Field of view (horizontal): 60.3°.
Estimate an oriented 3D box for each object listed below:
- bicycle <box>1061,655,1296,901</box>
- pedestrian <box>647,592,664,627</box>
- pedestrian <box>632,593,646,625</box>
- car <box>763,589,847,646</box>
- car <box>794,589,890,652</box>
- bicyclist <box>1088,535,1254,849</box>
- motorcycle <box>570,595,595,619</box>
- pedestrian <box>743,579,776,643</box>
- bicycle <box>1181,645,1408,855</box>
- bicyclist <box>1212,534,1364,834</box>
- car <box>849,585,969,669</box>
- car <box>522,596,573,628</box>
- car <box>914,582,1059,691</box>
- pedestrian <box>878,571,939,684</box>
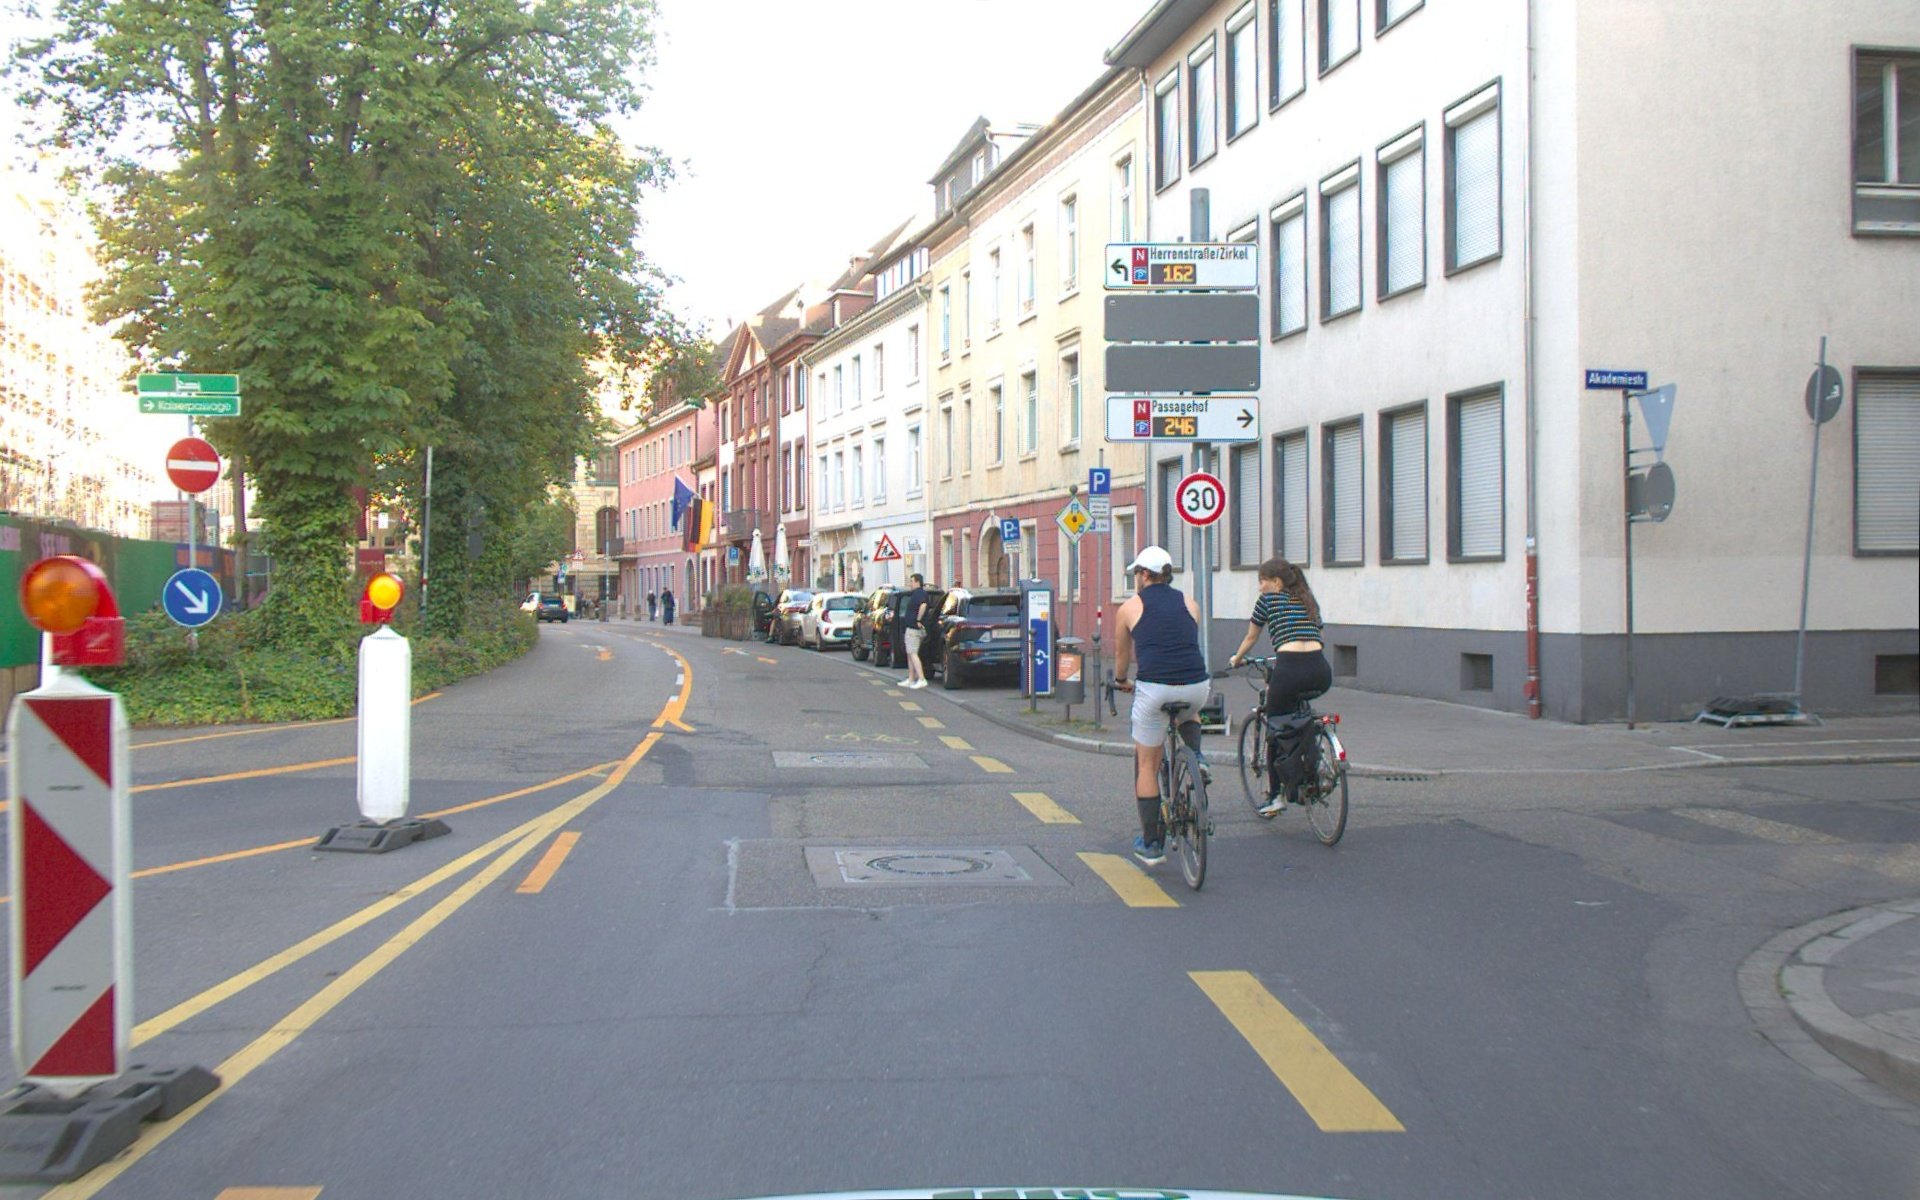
[{"bbox_3d":[1.105,0.876,8.816,0.657,1.089,1.896,1,0,-11],"label":"bicycle"},{"bbox_3d":[-15.557,0.466,84.501,0.738,1.793,0.582,0,0,-18],"label":"pedestrian"},{"bbox_3d":[-16.555,0.453,85.256,0.657,1.609,0.582,0,0,-18],"label":"pedestrian"},{"bbox_3d":[-4.556,0.473,48.198,1.783,1.587,3.848,0,0,-16],"label":"car"},{"bbox_3d":[-3.178,0.502,43.877,1.783,1.587,3.848,0,0,-16],"label":"car"},{"bbox_3d":[1.112,0.475,8.812,0.657,1.593,0.697,2,0,-11],"label":"bicyclist"},{"bbox_3d":[-20.689,0.375,90.542,1.026,1.270,2.384,0,0,-20],"label":"motorcycle"},{"bbox_3d":[-5.895,0.318,48.692,0.814,1.876,0.958,1,1,0],"label":"pedestrian"},{"bbox_3d":[2.023,0.870,10.354,0.640,1.089,2.253,2,0,-9],"label":"bicycle"},{"bbox_3d":[2.035,0.501,10.348,0.637,1.791,0.863,1,0,-9],"label":"bicyclist"},{"bbox_3d":[-1.169,0.541,35.912,1.782,1.713,3.984,0,0,-15],"label":"car"},{"bbox_3d":[-21.089,0.601,84.422,1.790,1.587,3.833,0,0,-26],"label":"car"},{"bbox_3d":[0.371,0.558,28.016,1.779,1.712,3.911,0,0,-9],"label":"car"},{"bbox_3d":[-0.889,0.457,28.357,0.885,1.898,0.929,0,0,-13],"label":"pedestrian"}]
